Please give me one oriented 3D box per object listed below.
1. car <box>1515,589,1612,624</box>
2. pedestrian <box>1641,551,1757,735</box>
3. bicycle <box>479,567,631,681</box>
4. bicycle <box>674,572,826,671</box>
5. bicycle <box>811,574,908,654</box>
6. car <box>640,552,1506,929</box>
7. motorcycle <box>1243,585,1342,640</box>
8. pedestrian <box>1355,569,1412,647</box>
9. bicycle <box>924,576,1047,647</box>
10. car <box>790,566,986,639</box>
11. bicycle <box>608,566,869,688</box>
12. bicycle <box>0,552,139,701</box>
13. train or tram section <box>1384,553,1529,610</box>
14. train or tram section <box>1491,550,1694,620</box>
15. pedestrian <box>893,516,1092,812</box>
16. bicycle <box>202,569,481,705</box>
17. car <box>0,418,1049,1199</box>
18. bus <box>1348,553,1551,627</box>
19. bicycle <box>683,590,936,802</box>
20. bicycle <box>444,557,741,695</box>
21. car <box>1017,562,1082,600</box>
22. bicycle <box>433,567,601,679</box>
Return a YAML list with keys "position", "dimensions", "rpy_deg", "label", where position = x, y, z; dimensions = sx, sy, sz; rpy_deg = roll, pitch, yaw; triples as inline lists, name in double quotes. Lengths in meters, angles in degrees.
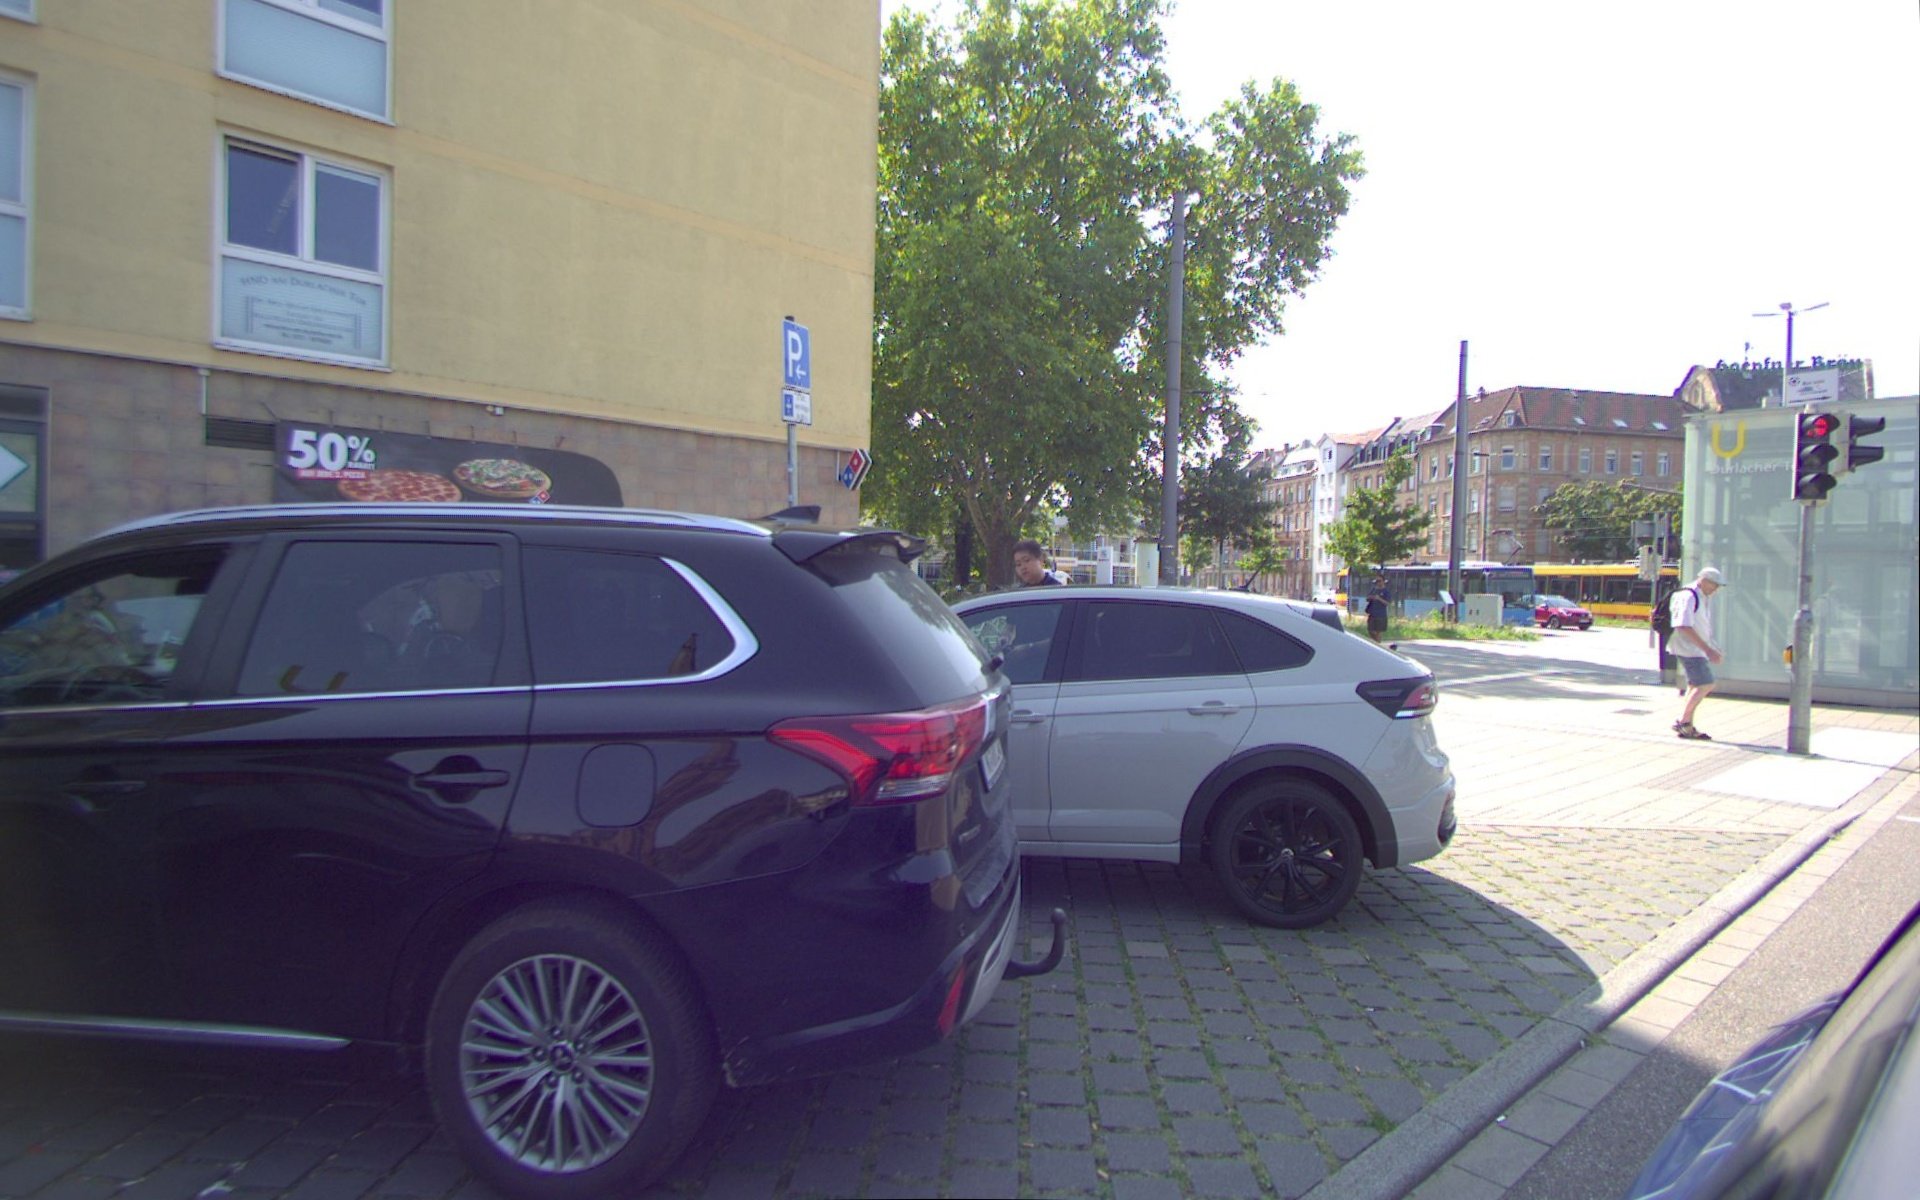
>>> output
- position: [28.615, 0.291, 48.110]
  dimensions: [1.595, 1.490, 3.781]
  rpy_deg: [1, 1, -20]
  label: "car"
- position: [7.764, 0.424, 10.640]
  dimensions: [0.800, 1.831, 0.820]
  rpy_deg: [1, 0, -40]
  label: "pedestrian"
- position: [-4.681, 0.272, 11.771]
  dimensions: [1.514, 1.254, 0.593]
  rpy_deg: [1, 1, -8]
  label: "bicycle"
- position: [-2.869, 0.272, 13.936]
  dimensions: [1.926, 1.262, 0.729]
  rpy_deg: [0, 1, -42]
  label: "bicycle"
- position: [-1.678, 0.207, 16.736]
  dimensions: [1.721, 1.221, 0.580]
  rpy_deg: [3, 2, 43]
  label: "bicycle"
- position: [0.492, 0.565, 5.279]
  dimensions: [3.723, 1.519, 1.802]
  rpy_deg: [0, -1, 9]
  label: "car"
- position: [7.474, 0.274, 22.731]
  dimensions: [2.069, 1.151, 0.914]
  rpy_deg: [1, 1, -28]
  label: "motorcycle"
- position: [9.187, 0.155, 21.948]
  dimensions: [0.934, 1.628, 0.792]
  rpy_deg: [0, 3, -44]
  label: "pedestrian"
- position: [0.515, 0.203, 19.090]
  dimensions: [2.392, 1.254, 0.793]
  rpy_deg: [0, 2, -41]
  label: "bicycle"
- position: [-1.560, 0.069, 22.944]
  dimensions: [4.174, 1.489, 1.902]
  rpy_deg: [1, -1, -42]
  label: "car"
- position: [-2.942, 0.317, 13.432]
  dimensions: [3.314, 1.422, 0.900]
  rpy_deg: [2, 1, 14]
  label: "bicycle"
- position: [-8.613, 0.203, 8.685]
  dimensions: [2.377, 1.254, 0.941]
  rpy_deg: [1, 1, -38]
  label: "bicycle"
- position: [34.374, -1.366, 70.913]
  dimensions: [2.542, 3.604, 12.239]
  rpy_deg: [1, 2, -9]
  label: "train or tram section"
- position: [36.190, -0.968, 58.836]
  dimensions: [2.542, 3.604, 12.239]
  rpy_deg: [1, 2, -9]
  label: "train or tram section"
- position: [0.232, 0.364, 6.526]
  dimensions: [1.026, 1.726, 0.897]
  rpy_deg: [1, 0, 23]
  label: "pedestrian"
- position: [-6.370, 0.338, 10.505]
  dimensions: [2.377, 1.254, 0.941]
  rpy_deg: [1, 1, -38]
  label: "bicycle"
- position: [-1.926, 0.393, 3.439]
  dimensions: [4.319, 1.708, 1.982]
  rpy_deg: [2, 1, 8]
  label: "car"
- position: [23.331, -0.588, 49.453]
  dimensions: [2.679, 3.102, 12.100]
  rpy_deg: [2, 1, -7]
  label: "bus"
- position: [-1.022, 0.606, 7.161]
  dimensions: [1.759, 1.312, 0.474]
  rpy_deg: [-1, 3, -39]
  label: "bicycle"
- position: [-4.290, 0.255, 11.831]
  dimensions: [3.314, 1.422, 0.900]
  rpy_deg: [2, 1, 14]
  label: "bicycle"
- position: [6.893, -1.409, 77.773]
  dimensions: [5.124, 2.617, 1.846]
  rpy_deg: [3, 0, -41]
  label: "car"
- position: [-5.282, 0.258, 12.156]
  dimensions: [1.796, 1.254, 0.409]
  rpy_deg: [1, 1, -43]
  label: "bicycle"
